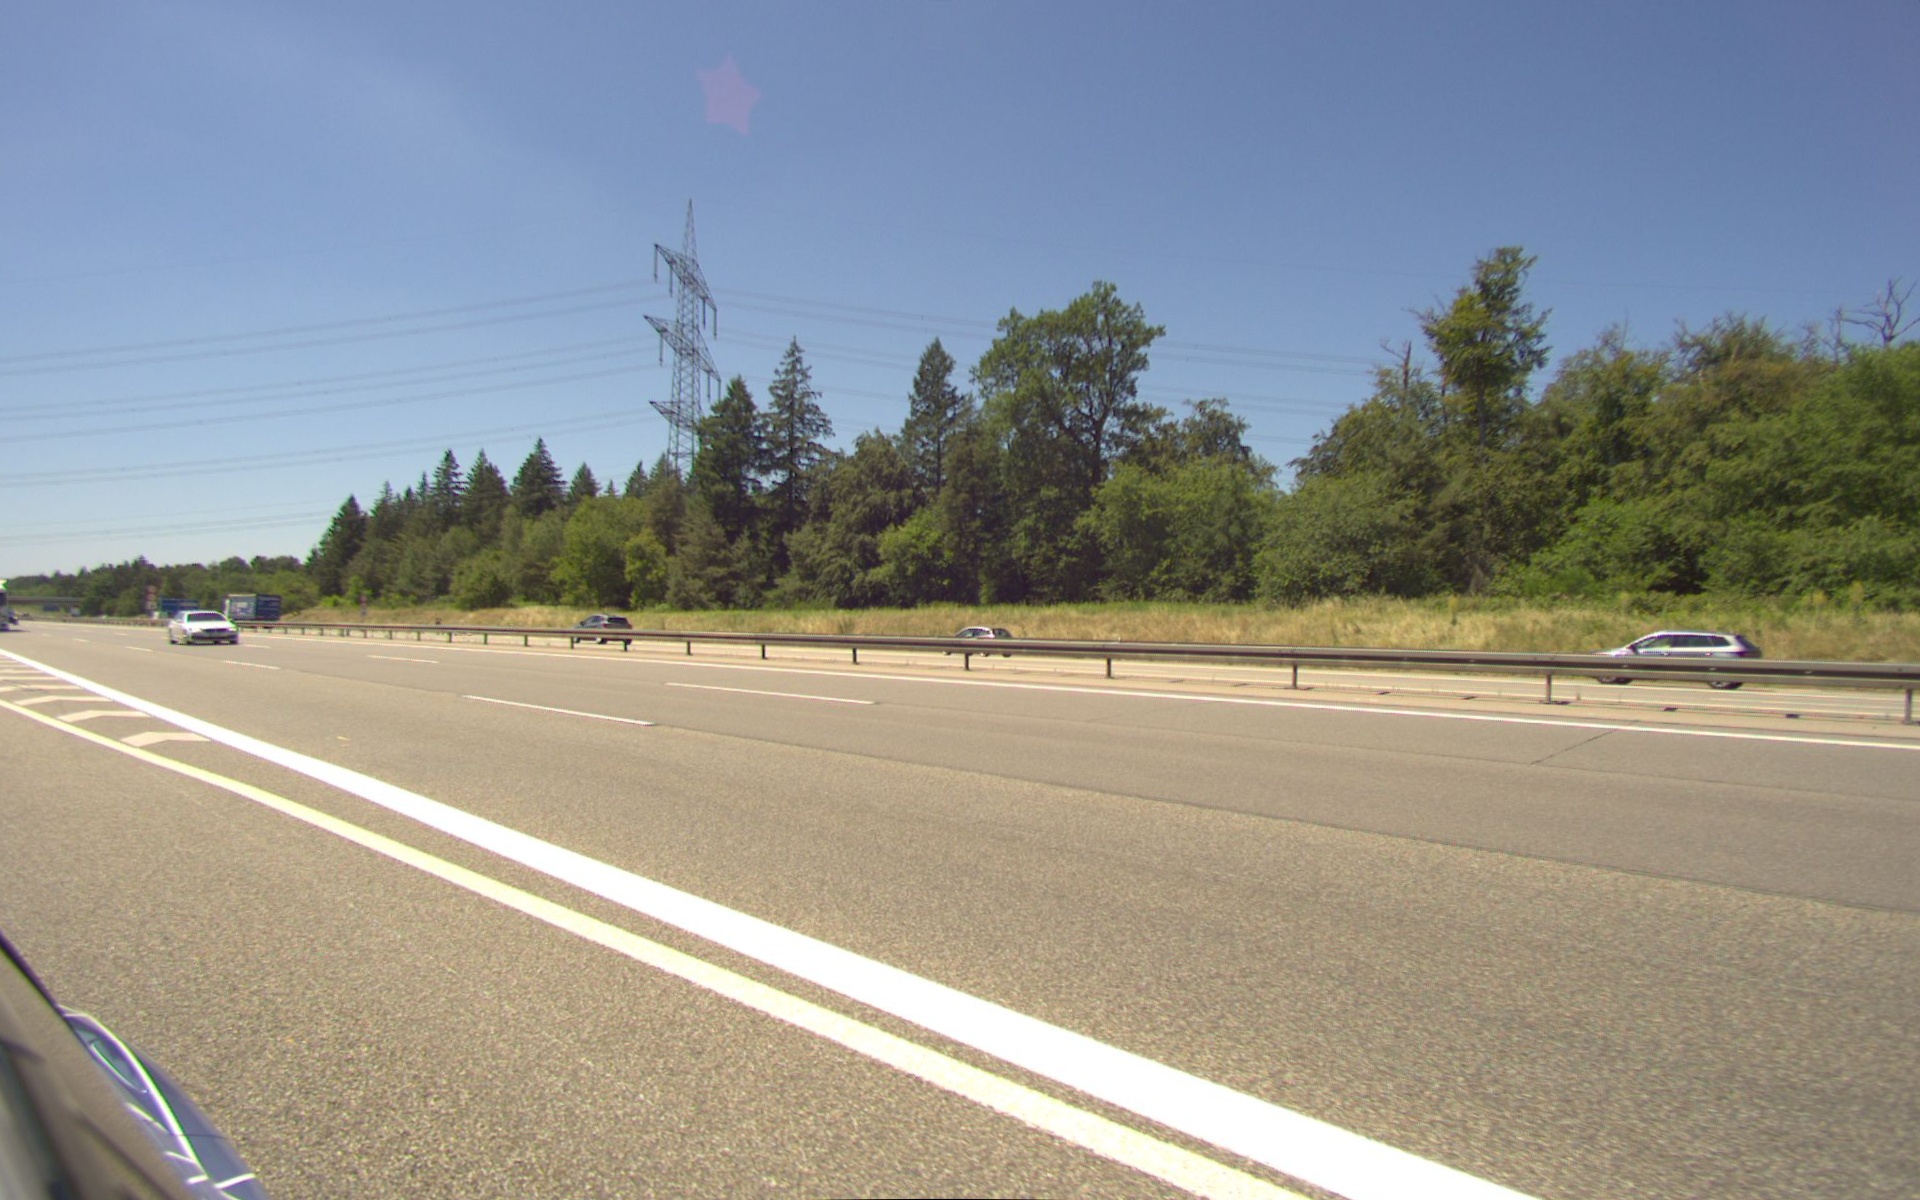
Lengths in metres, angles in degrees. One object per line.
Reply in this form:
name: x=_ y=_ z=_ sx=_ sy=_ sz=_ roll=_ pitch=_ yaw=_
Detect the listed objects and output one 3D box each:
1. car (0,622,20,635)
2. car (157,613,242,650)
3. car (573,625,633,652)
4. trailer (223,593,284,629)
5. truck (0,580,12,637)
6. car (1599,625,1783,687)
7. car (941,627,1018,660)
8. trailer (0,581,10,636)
car: x=-113.509 y=3.424 z=120.793 sx=1.872 sy=1.436 sz=4.264 roll=-1 pitch=0 yaw=-45
car: x=-33.597 y=1.346 z=44.668 sx=5.402 sy=1.515 sz=1.943 roll=-1 pitch=0 yaw=41
car: x=-18.810 y=2.002 z=53.207 sx=3.567 sy=1.366 sz=1.546 roll=-1 pitch=-1 yaw=44
trailer: x=-86.289 y=1.394 z=123.474 sx=13.984 sy=4.204 sz=3.167 roll=-1 pitch=-2 yaw=43
truck: x=-73.326 y=0.677 z=75.980 sx=2.938 sy=4.174 sz=5.352 roll=1 pitch=-2 yaw=-45
car: x=20.343 y=1.514 z=28.277 sx=4.000 sy=1.539 sz=1.542 roll=-1 pitch=0 yaw=43
car: x=0.898 y=2.032 z=48.376 sx=3.567 sy=1.488 sz=1.603 roll=-1 pitch=-1 yaw=44
trailer: x=-77.468 y=0.793 z=80.166 sx=2.940 sy=4.174 sz=11.702 roll=1 pitch=-2 yaw=-44
